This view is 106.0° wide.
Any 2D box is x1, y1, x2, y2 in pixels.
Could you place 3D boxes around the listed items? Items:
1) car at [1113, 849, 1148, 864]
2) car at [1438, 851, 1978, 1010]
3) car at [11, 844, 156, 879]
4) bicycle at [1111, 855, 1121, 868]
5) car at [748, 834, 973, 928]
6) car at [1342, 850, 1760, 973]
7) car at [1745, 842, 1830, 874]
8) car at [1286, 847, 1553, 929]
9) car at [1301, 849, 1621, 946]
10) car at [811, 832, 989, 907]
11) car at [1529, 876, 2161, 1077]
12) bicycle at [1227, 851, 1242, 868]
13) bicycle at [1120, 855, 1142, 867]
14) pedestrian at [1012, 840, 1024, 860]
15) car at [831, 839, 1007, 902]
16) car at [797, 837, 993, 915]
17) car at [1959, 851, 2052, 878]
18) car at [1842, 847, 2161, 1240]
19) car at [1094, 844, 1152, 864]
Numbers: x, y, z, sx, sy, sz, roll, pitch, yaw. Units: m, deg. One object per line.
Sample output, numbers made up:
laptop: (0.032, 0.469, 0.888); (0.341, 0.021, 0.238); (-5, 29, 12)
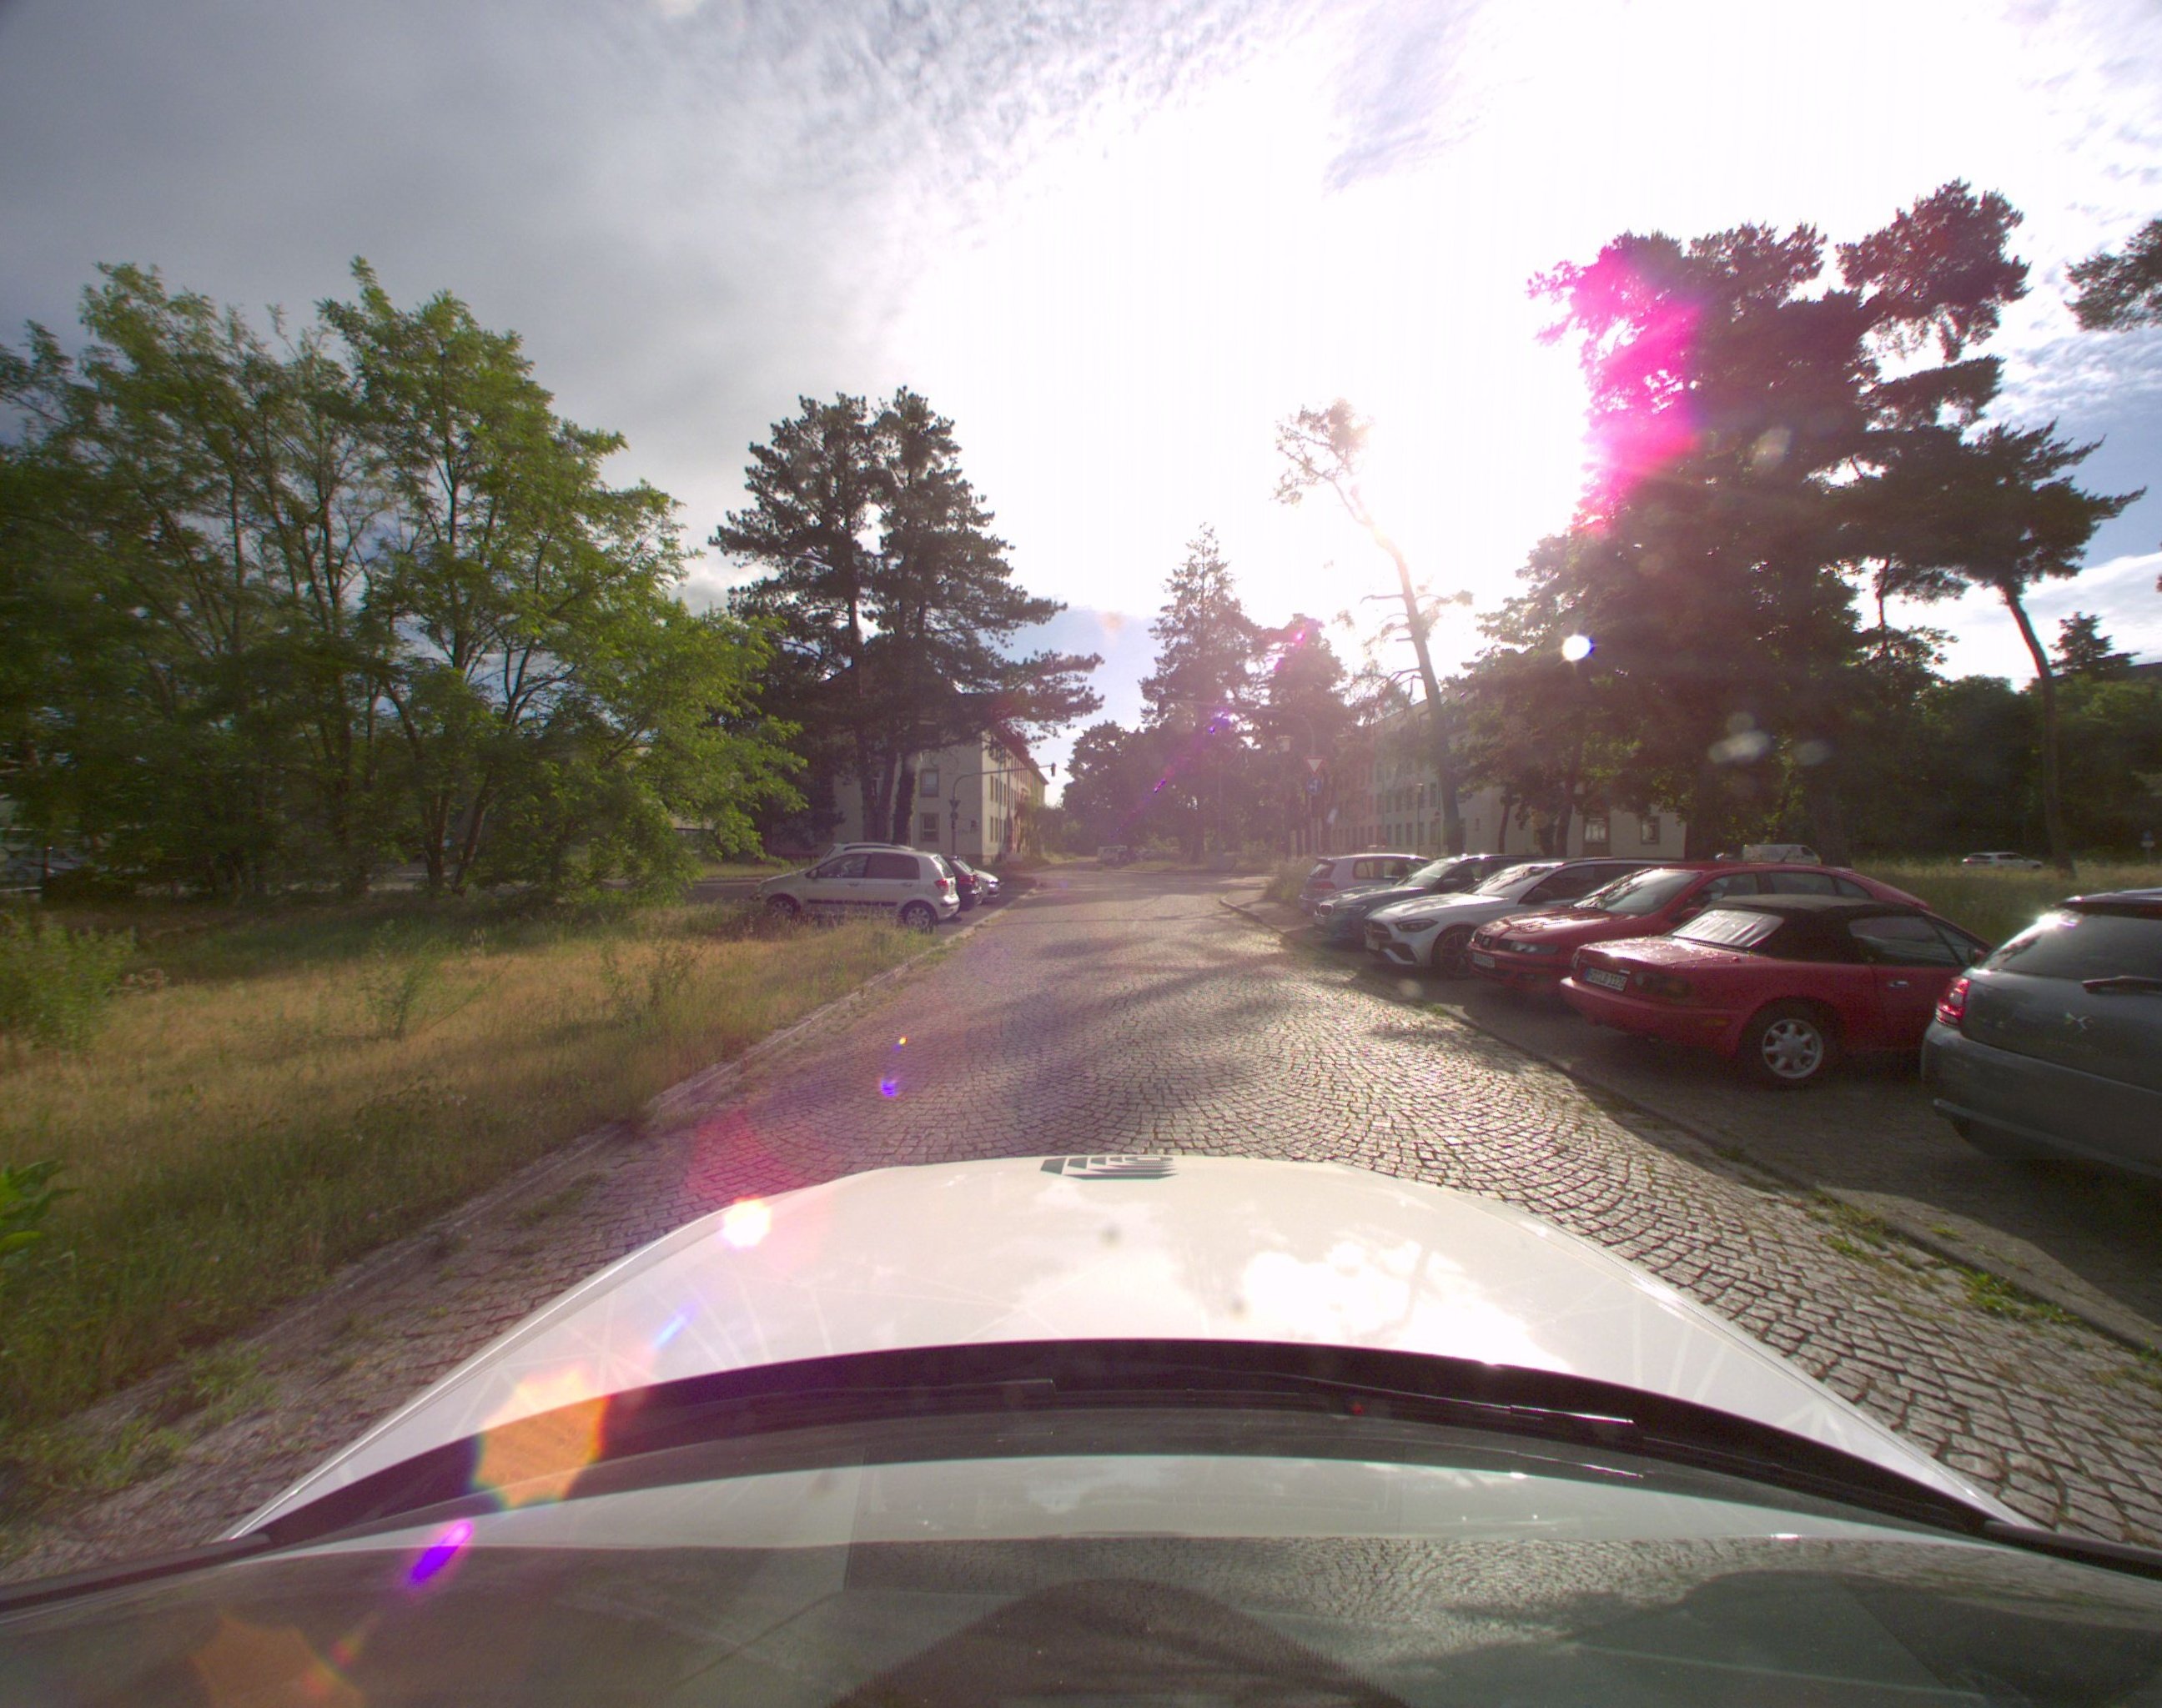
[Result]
car: (4.843, 0.247, 79.701); (3.034, 1.465, 1.713); (1, -1, -12)
car: (6.273, 0.725, 8.530); (4.326, 1.473, 1.740); (0, 0, 0)
car: (-41.288, 0.322, 33.761); (3.972, 1.382, 1.666); (1, 0, 2)
bicycle: (2.720, 0.567, 63.763); (0.725, 0.999, 1.799); (0, 1, 1)
car: (-4.058, 0.491, 15.454); (3.672, 1.473, 1.849); (3, 0, -1)
car: (5.993, 0.700, 10.804); (4.491, 1.473, 1.850); (0, 0, 1)
car: (59.452, 0.327, 68.593); (5.138, 2.536, 2.265); (1, -1, 2)
car: (6.589, 0.642, 16.203); (4.530, 1.505, 1.932); (0, 0, -1)
car: (6.173, 0.679, 13.582); (4.496, 1.473, 1.893); (0, 0, -3)
car: (-4.508, 0.389, 20.812); (4.112, 1.600, 1.856); (3, 0, -4)
car: (5.821, 0.823, 6.157); (3.936, 1.261, 1.727); (0, 0, 1)
bicycle: (9.974, 0.351, 53.081); (0.561, 0.999, 1.750); (0, 1, -3)
bicycle: (4.199, 0.570, 68.356); (1.787, 0.999, 0.644); (0, 1, 0)
pedestrian: (-6.165, -0.360, 79.829); (0.982, 1.963, 0.933); (1, -1, 0)
car: (-4.534, 0.430, 23.355); (4.574, 1.455, 1.903); (3, 1, -2)
car: (-4.027, 0.469, 18.111); (3.816, 1.429, 1.859); (3, 0, 0)
car: (59.529, 0.669, 52.478); (3.920, 1.679, 1.856); (1, 0, -1)
car: (6.093, 0.714, 3.514); (3.936, 1.495, 1.772); (0, 0, 1)
car: (4.266, -0.002, 83.278); (5.506, 1.916, 2.244); (1, 0, -13)
